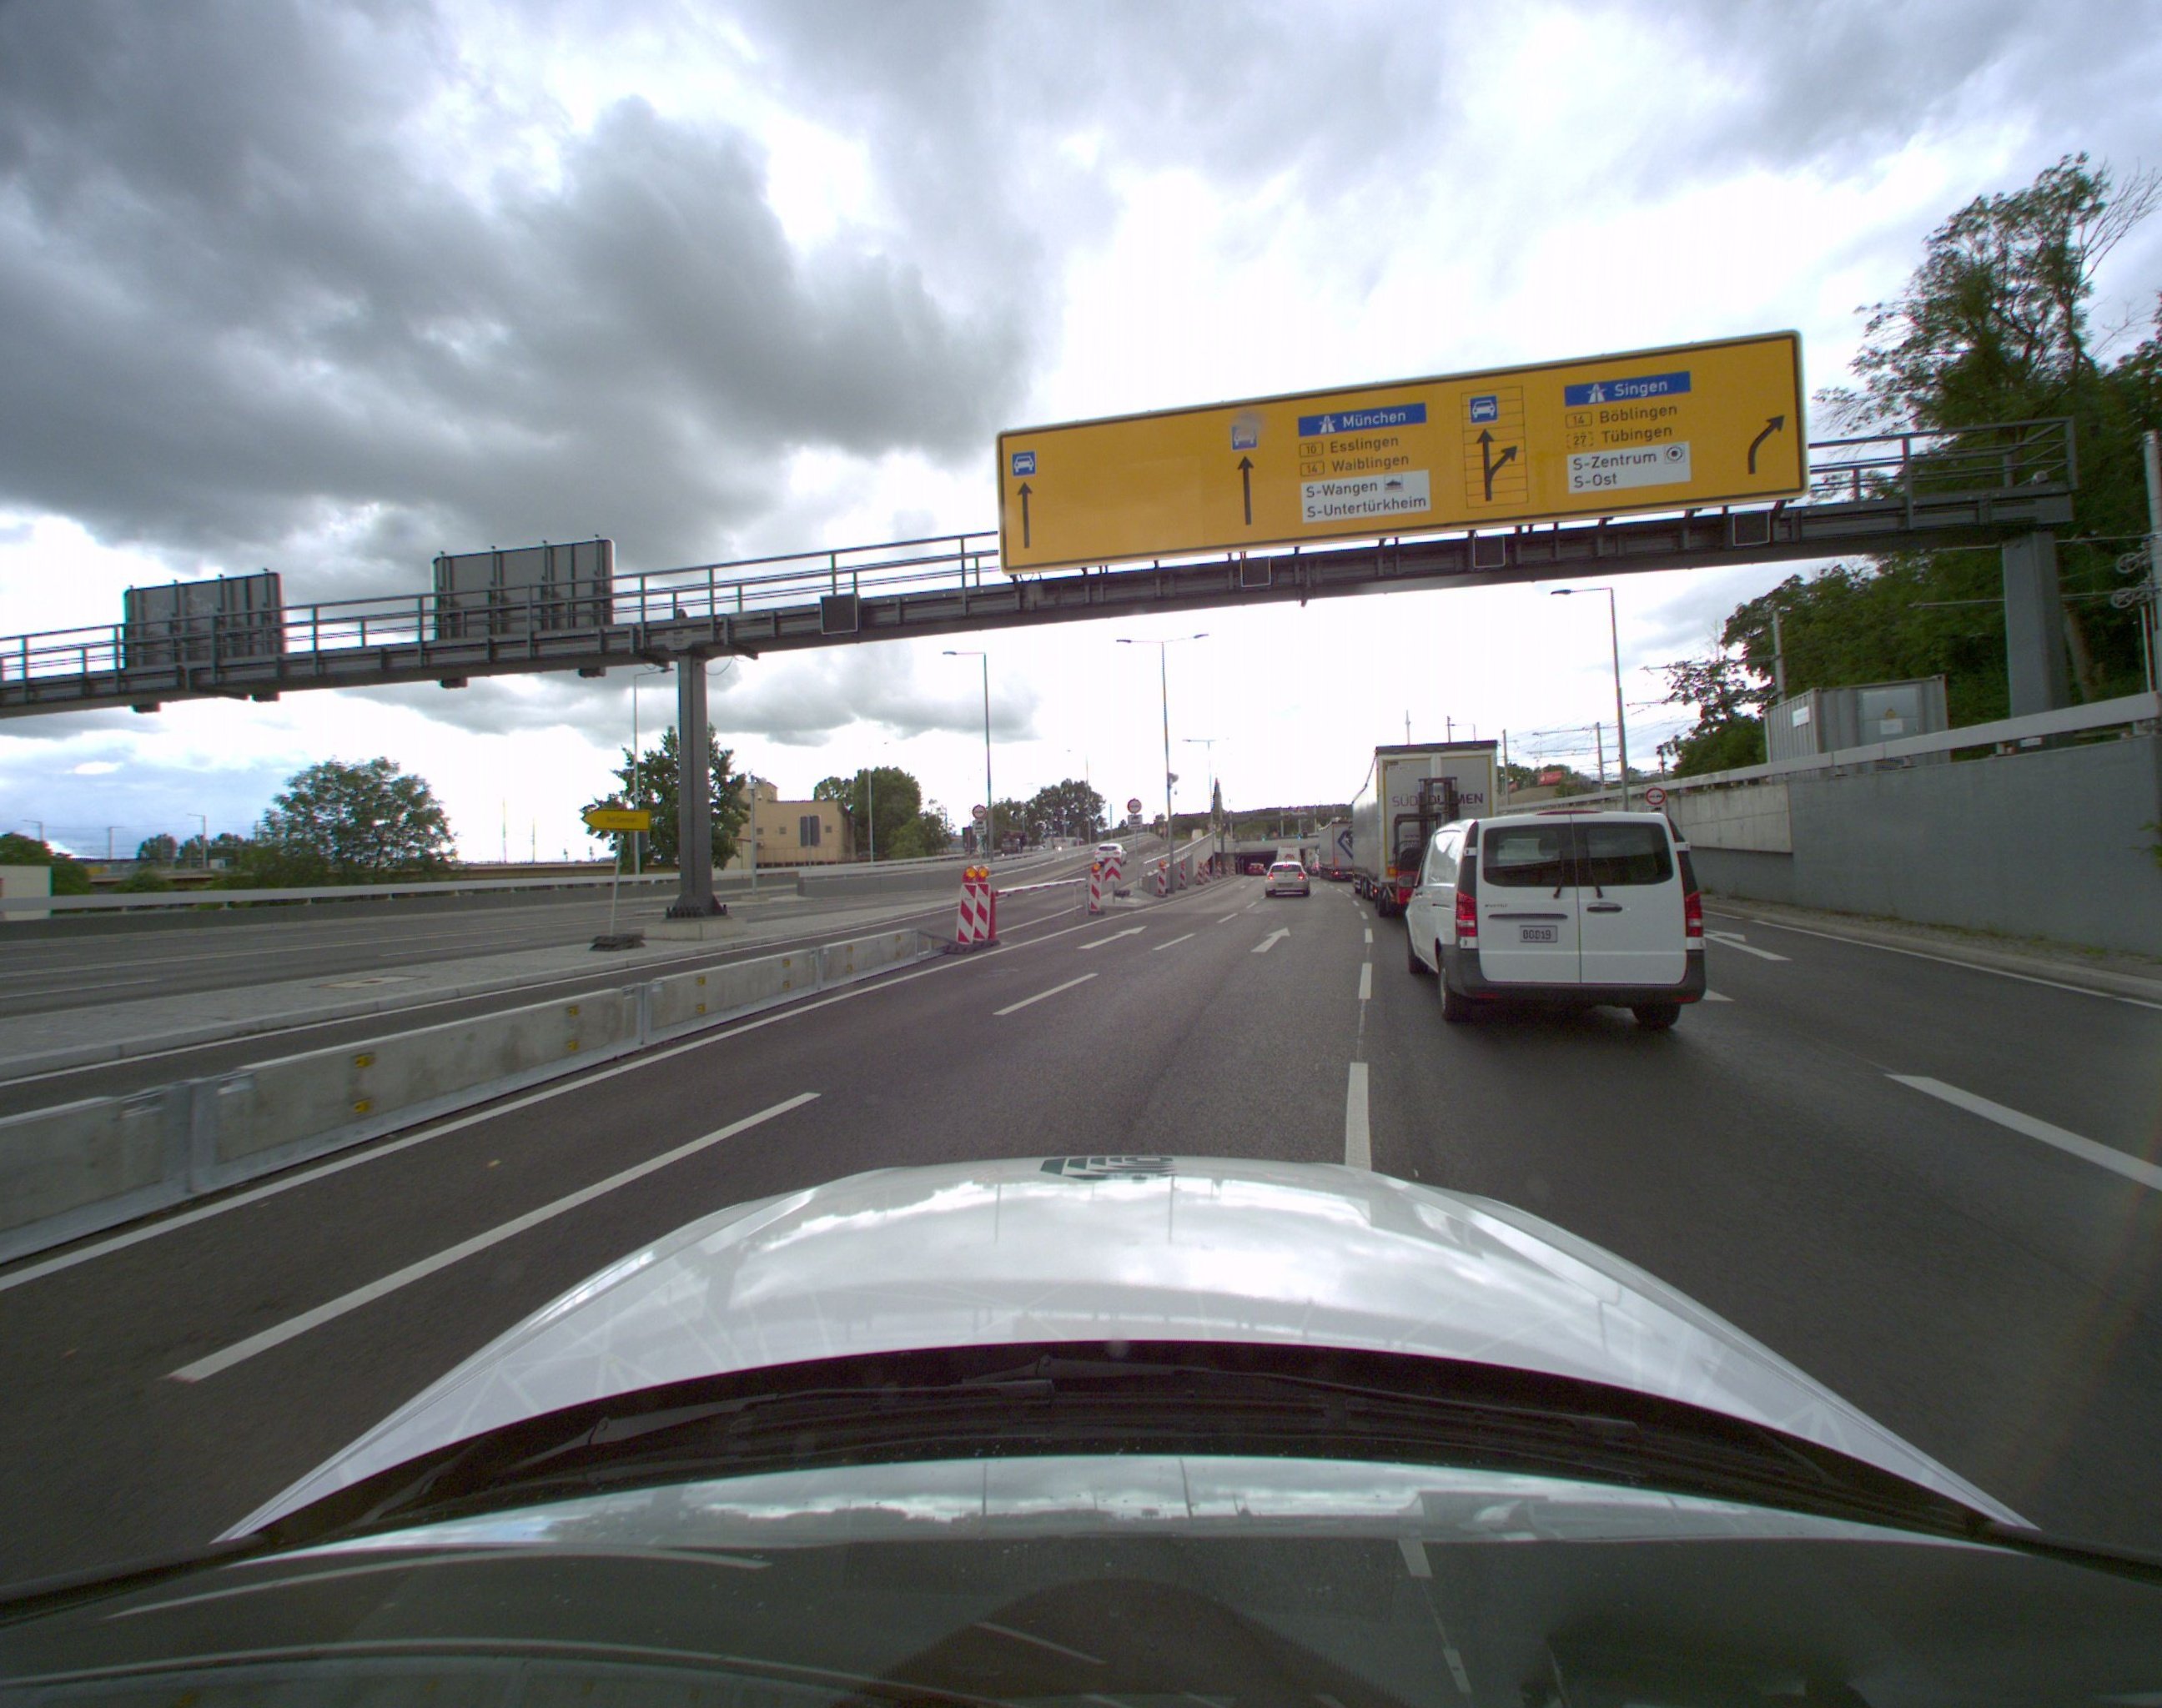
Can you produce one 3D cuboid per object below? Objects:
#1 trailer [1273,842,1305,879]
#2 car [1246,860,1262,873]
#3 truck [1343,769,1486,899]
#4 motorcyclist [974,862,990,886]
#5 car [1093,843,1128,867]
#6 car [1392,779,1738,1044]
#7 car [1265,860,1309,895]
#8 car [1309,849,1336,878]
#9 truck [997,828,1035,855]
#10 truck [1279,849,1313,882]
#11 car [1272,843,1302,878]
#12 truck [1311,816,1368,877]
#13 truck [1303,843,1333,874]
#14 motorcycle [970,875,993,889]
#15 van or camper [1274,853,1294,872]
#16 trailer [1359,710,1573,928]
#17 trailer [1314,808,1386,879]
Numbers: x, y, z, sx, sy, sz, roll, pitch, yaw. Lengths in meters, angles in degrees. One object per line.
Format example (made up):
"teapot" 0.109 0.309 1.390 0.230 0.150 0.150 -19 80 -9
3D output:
"trailer" 15.798 0.497 62.059 2.089 2.639 4.825 1 -1 12
"car" 21.571 1.588 101.629 1.651 1.488 3.573 -2 -3 7
"truck" 12.479 -0.559 31.728 3.697 4.142 11.026 -1 -1 15
"motorcyclist" -6.691 1.365 54.877 0.660 1.606 1.108 -1 -2 16
"car" 1.949 0.084 53.121 1.733 1.433 3.786 1 -1 10
"car" 4.700 0.475 8.904 1.978 1.990 5.221 -1 -1 16
"car" 8.748 0.958 34.456 1.703 1.398 4.364 0 -1 15
"car" 23.863 0.926 80.632 2.061 2.773 7.351 -1 -1 13
"truck" -8.567 -1.755 109.465 2.717 3.389 10.647 0 2 9
"truck" 14.125 0.776 53.623 1.980 2.031 3.846 1 -1 13
"car" 16.616 0.581 65.791 2.044 2.628 5.961 1 -1 12
"truck" 20.849 -0.549 66.115 3.779 4.631 7.467 -1 -1 13
"truck" 26.119 0.567 90.028 2.631 3.185 7.452 -3 -2 14
"motorcycle" -6.687 1.880 54.848 0.660 0.917 2.404 -1 -1 16
"van or camper" 21.590 0.932 86.790 1.980 1.845 5.525 -1 -3 12
"trailer" 9.278 -0.594 21.252 3.694 4.142 11.034 -1 -1 18
"trailer" 19.291 -0.620 59.275 3.779 4.631 12.155 -1 -1 13
